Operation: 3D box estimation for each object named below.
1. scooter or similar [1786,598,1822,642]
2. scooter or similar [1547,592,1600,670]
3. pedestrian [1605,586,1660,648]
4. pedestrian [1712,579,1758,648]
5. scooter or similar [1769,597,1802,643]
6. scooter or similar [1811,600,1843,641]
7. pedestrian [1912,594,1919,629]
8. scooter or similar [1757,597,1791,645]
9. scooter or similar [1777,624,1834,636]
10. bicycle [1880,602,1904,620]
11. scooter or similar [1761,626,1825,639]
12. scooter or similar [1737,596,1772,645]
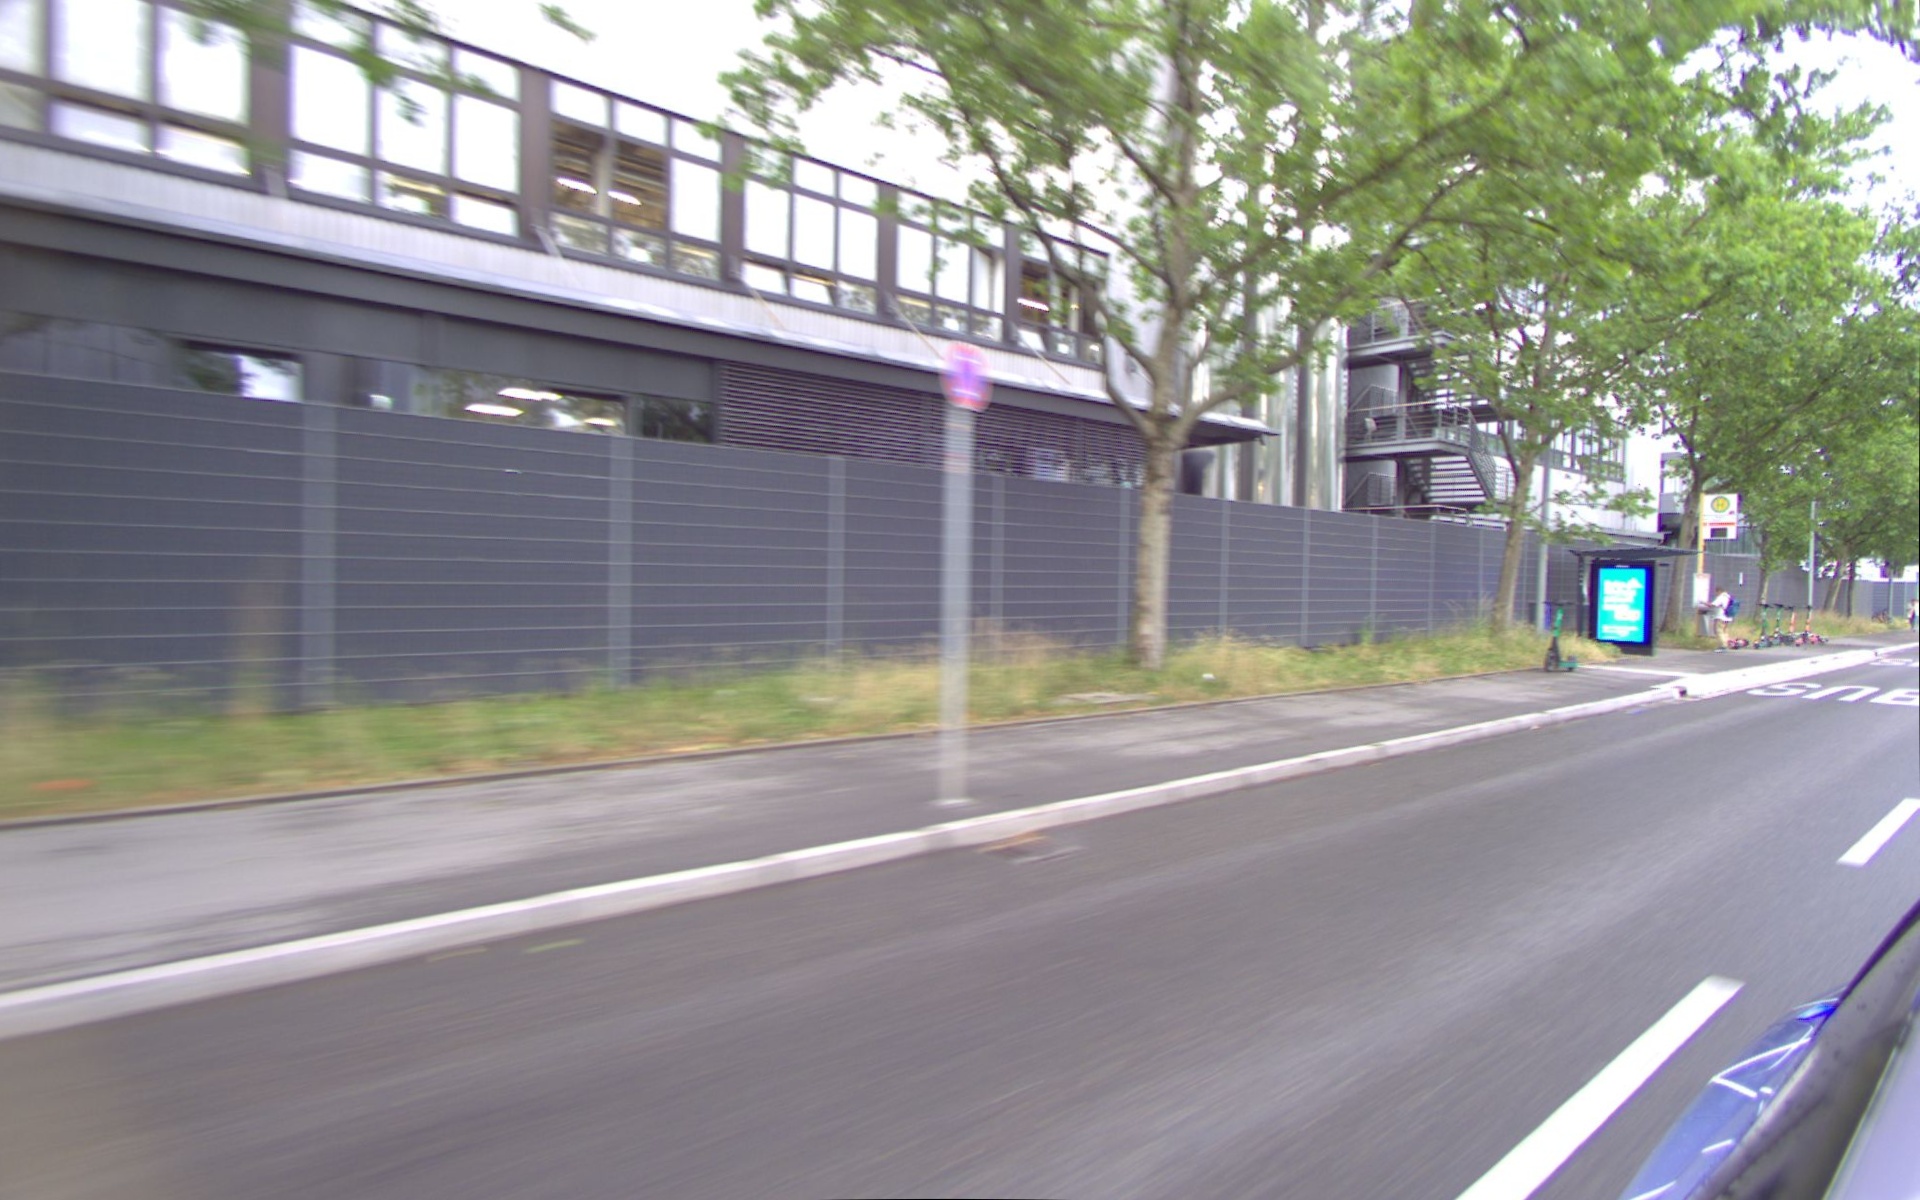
[{"bbox_3d":[25.850,0.592,30.982,1.340,1.311,0.437,0,1,-33],"label":"scooter or similar"},{"bbox_3d":[10.839,0.530,17.861,1.222,1.325,0.329,0,1,-36],"label":"scooter or similar"},{"bbox_3d":[16.163,0.399,24.328,0.686,1.433,0.932,0,1,-41],"label":"pedestrian"},{"bbox_3d":[19.964,0.323,26.062,0.717,1.731,0.777,0,1,-41],"label":"pedestrian"},{"bbox_3d":[24.333,0.584,29.834,1.276,1.311,0.437,0,1,-38],"label":"scooter or similar"},{"bbox_3d":[28.733,0.672,33.522,1.275,1.301,0.437,0,1,-33],"label":"scooter or similar"},{"bbox_3d":[45.976,0.551,48.232,0.819,1.639,0.723,0,4,-41],"label":"pedestrian"},{"bbox_3d":[22.808,0.581,28.349,1.276,1.311,0.437,0,1,-38],"label":"scooter or similar"},{"bbox_3d":[29.089,1.033,34.854,1.168,0.314,1.194,2,2,21],"label":"scooter or similar"},{"bbox_3d":[48.903,0.554,53.094,1.872,0.886,0.726,-1,1,-42],"label":"bicycle"},{"bbox_3d":[27.229,1.064,33.095,1.231,0.349,1.104,1,2,-17],"label":"scooter or similar"},{"bbox_3d":[21.647,0.546,27.567,1.276,1.311,0.437,0,1,-38],"label":"scooter or similar"}]
